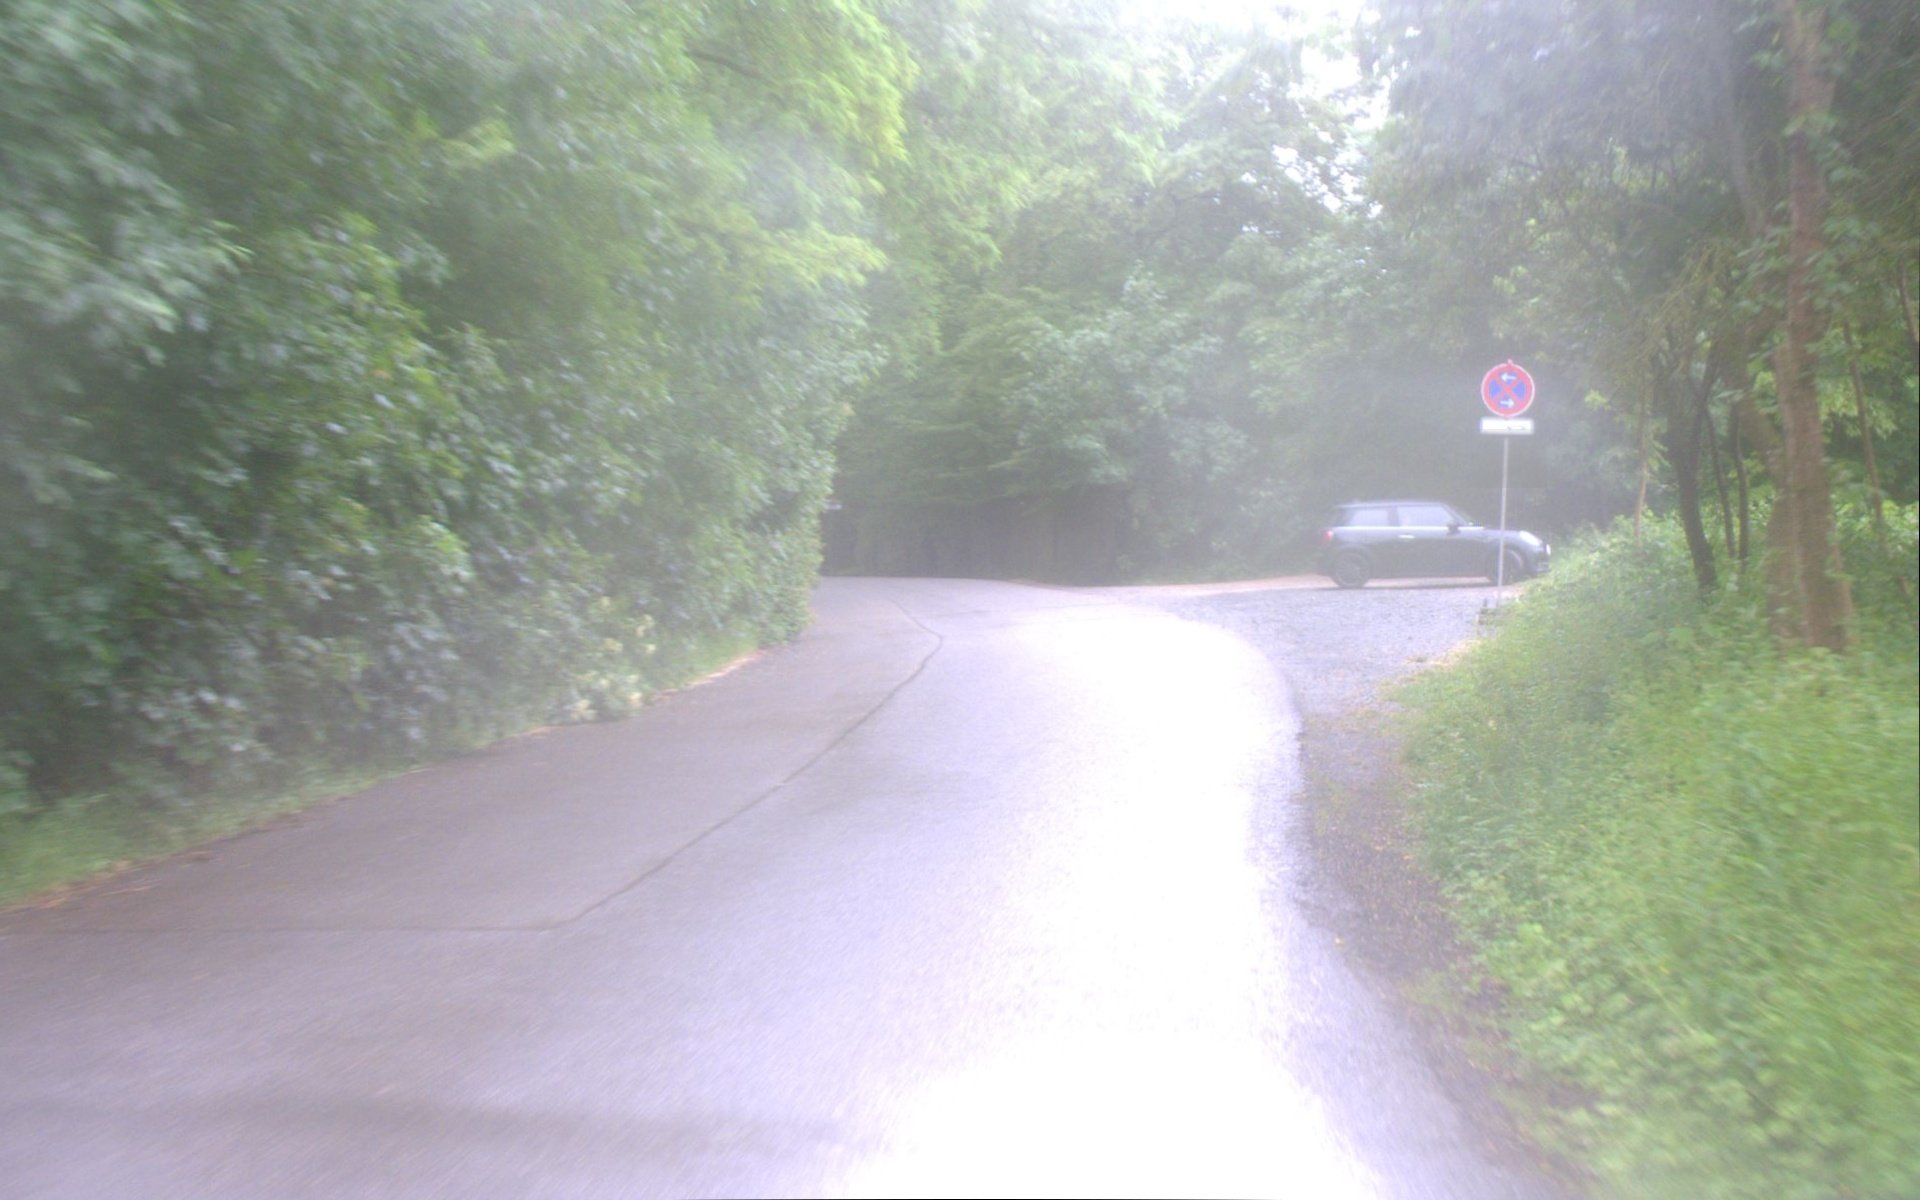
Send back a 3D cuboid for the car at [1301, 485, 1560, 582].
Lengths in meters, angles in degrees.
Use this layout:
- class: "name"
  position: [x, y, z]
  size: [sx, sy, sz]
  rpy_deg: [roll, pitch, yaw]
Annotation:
- class: "car"
  position: [7.647, -1.099, 56.190]
  size: [3.987, 1.386, 2.000]
  rpy_deg: [-2, 2, 3]
